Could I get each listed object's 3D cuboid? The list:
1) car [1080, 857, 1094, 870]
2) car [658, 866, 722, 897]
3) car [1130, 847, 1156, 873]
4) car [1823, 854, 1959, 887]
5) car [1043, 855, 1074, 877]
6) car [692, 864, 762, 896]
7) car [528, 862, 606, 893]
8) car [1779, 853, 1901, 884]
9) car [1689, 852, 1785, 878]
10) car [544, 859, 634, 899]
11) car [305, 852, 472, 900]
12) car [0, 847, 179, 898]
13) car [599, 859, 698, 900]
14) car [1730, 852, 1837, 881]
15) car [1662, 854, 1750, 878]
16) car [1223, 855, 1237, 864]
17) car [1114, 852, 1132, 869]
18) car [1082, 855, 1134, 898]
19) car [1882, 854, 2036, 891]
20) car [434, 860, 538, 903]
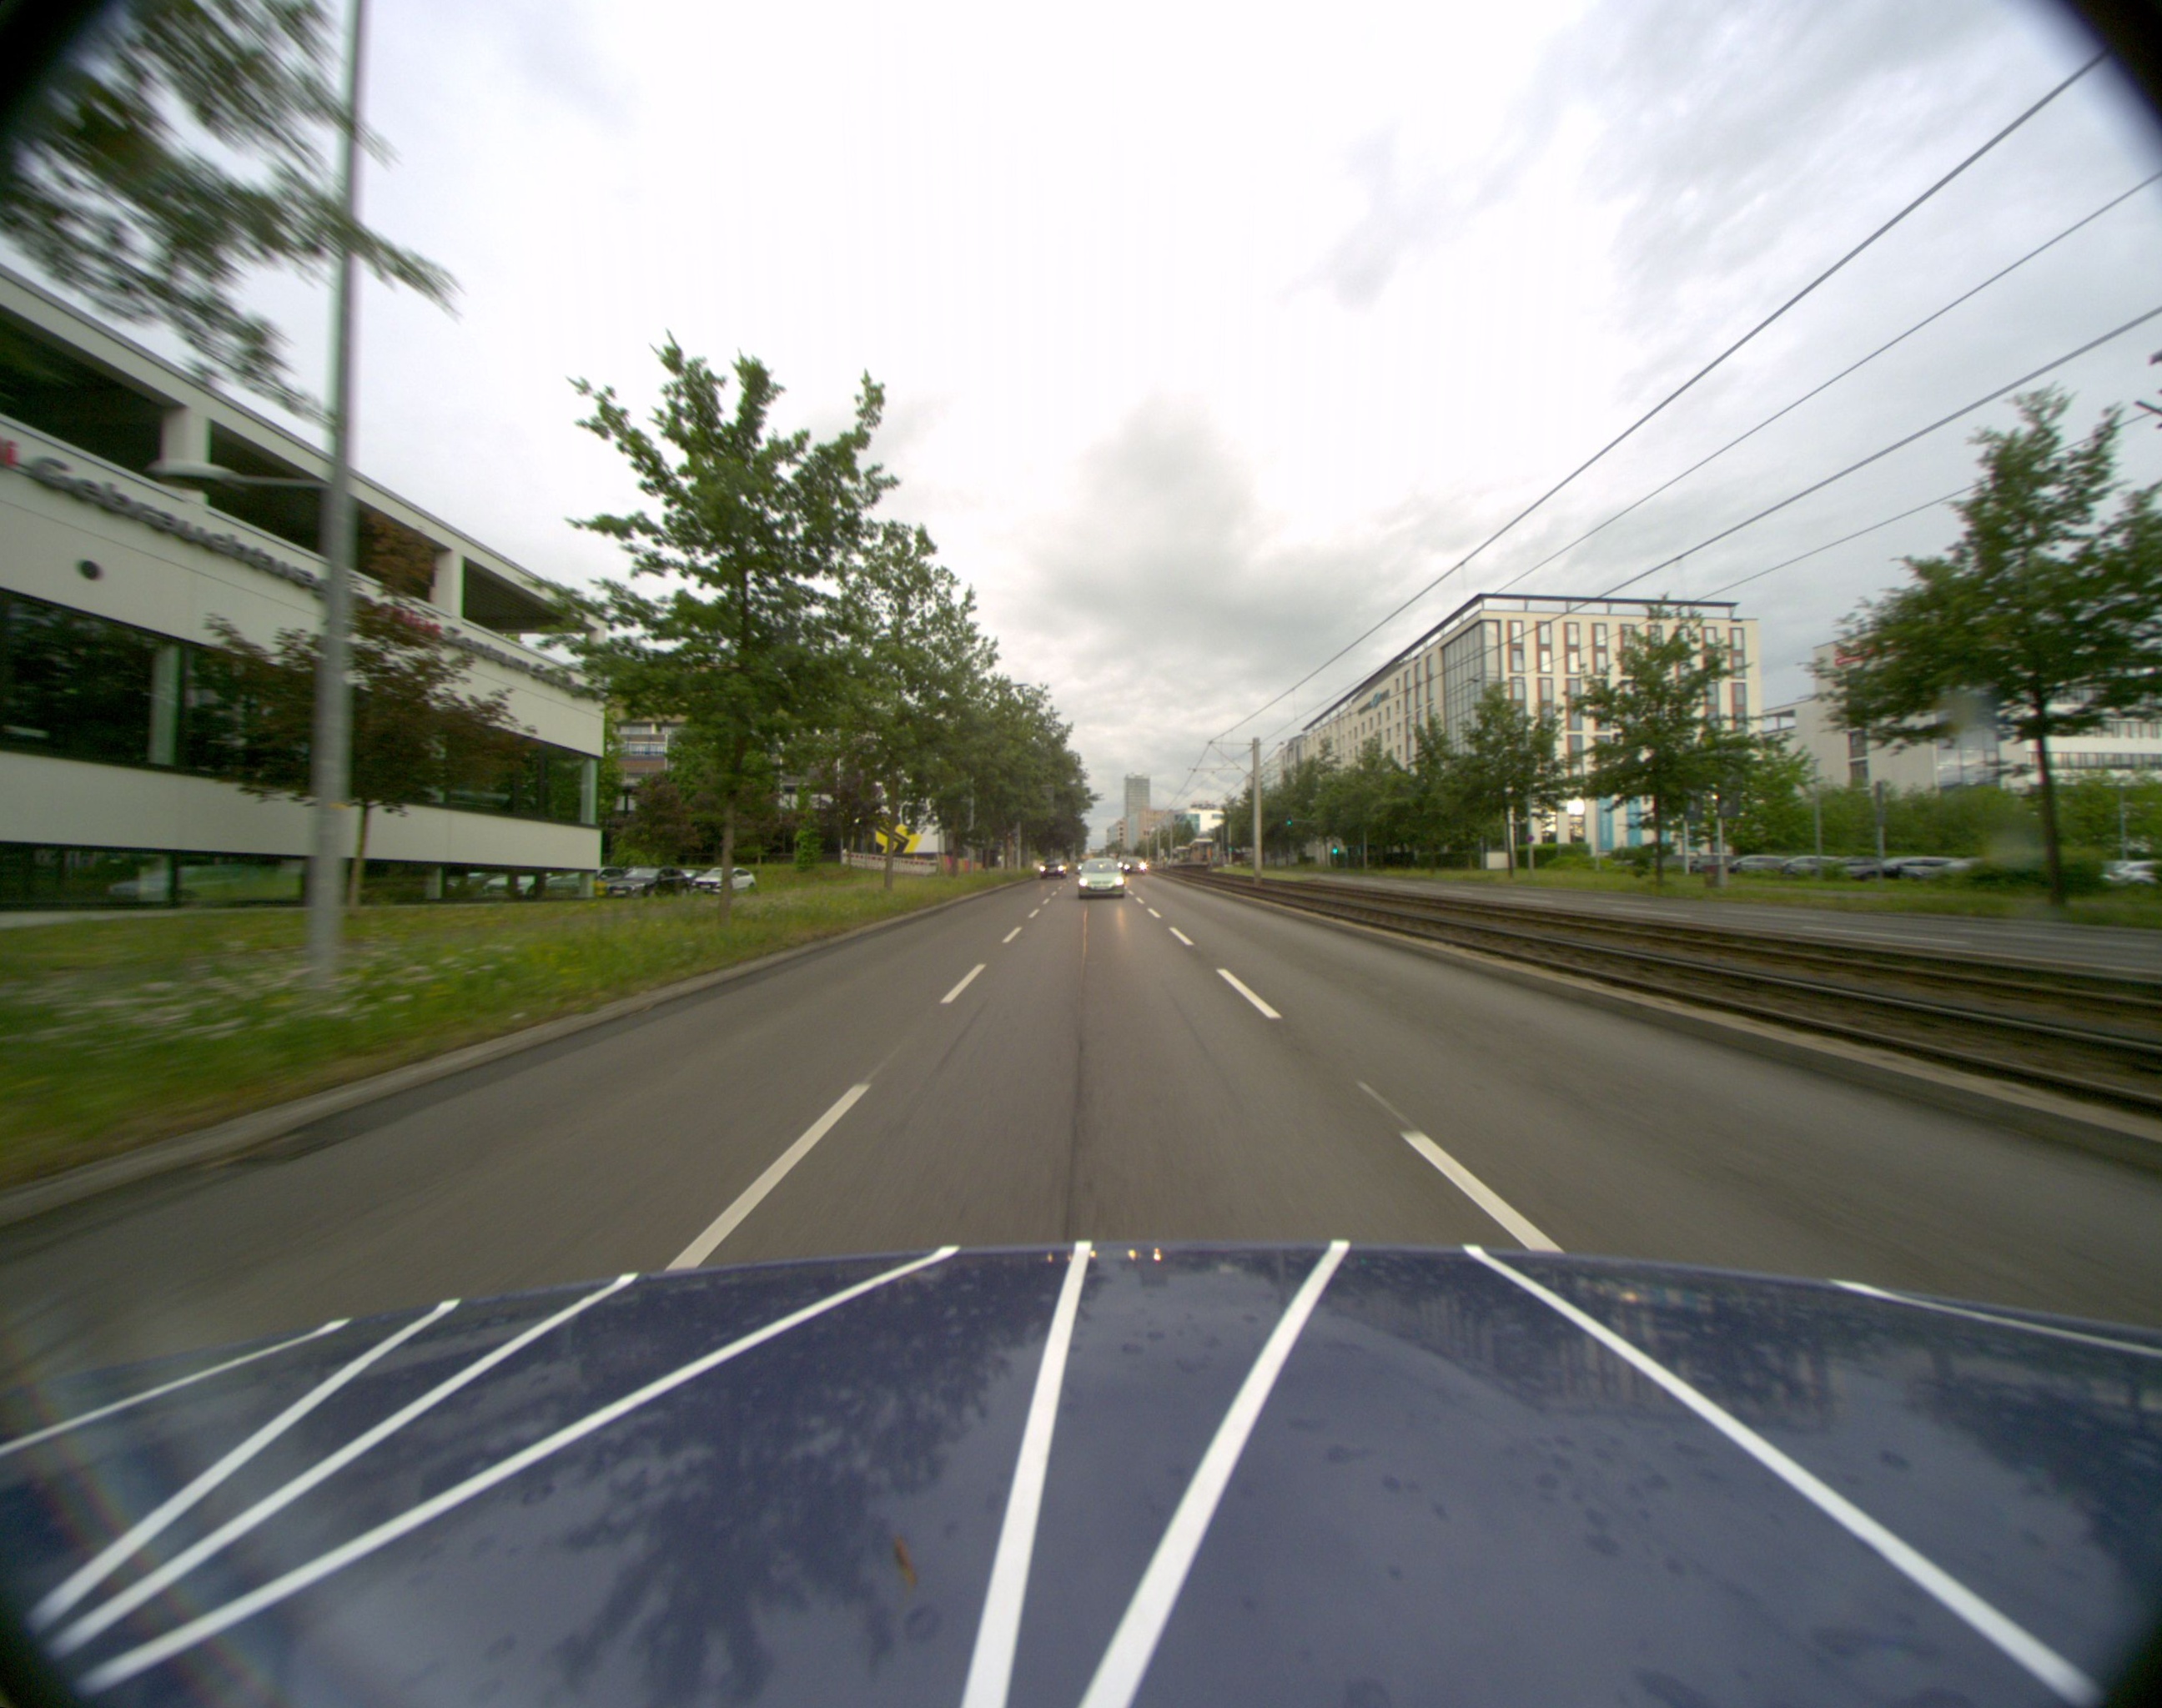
[{"bbox_3d":[0.957,1.417,115.742,1.860,1.798,4.116,-2,-2,3],"label":"car"},{"bbox_3d":[-22.066,1.516,43.030,1.702,1.476,3.641,-2,1,0],"label":"car"},{"bbox_3d":[5.054,0.475,62.381,1.998,2.002,4.000,-3,1,4],"label":"car"},{"bbox_3d":[38.054,0.770,35.832,3.990,1.383,1.806,-2,1,28],"label":"car"},{"bbox_3d":[-1.677,0.928,59.182,1.828,1.599,4.117,-2,-2,6],"label":"car"},{"bbox_3d":[-19.572,1.405,42.238,1.702,1.476,4.461,-2,1,0],"label":"car"},{"bbox_3d":[-27.824,1.239,41.258,1.702,1.476,3.641,-2,1,0],"label":"car"},{"bbox_3d":[38.253,0.737,38.424,3.990,1.383,1.806,-2,1,28],"label":"car"},{"bbox_3d":[38.698,0.657,44.950,3.990,1.383,1.806,-2,1,28],"label":"car"},{"bbox_3d":[-22.235,1.088,34.511,1.702,1.666,3.641,1,1,0],"label":"car"},{"bbox_3d":[-26.938,0.910,29.716,1.698,1.665,4.543,-2,-5,38],"label":"car"},{"bbox_3d":[-35.885,0.701,27.164,1.698,1.665,4.543,-2,-5,38],"label":"car"},{"bbox_3d":[-19.703,1.103,34.856,1.907,1.666,4.589,0,1,0],"label":"car"},{"bbox_3d":[38.554,0.692,41.816,3.990,1.383,1.767,-2,1,28],"label":"car"},{"bbox_3d":[39.300,0.765,47.889,3.990,1.383,1.806,-2,1,28],"label":"car"},{"bbox_3d":[25.028,0.900,127.754,1.701,1.356,3.818,2,0,4],"label":"car"},{"bbox_3d":[4.984,0.796,89.827,1.860,1.798,4.116,-2,-2,4],"label":"car"},{"bbox_3d":[1.116,0.841,29.528,1.828,1.499,4.116,-2,-1,4],"label":"car"},{"bbox_3d":[37.873,0.805,32.916,3.990,1.383,1.806,-2,1,24],"label":"car"},{"bbox_3d":[-26.742,1.204,34.336,1.702,1.666,3.641,-4,1,0],"label":"car"}]
